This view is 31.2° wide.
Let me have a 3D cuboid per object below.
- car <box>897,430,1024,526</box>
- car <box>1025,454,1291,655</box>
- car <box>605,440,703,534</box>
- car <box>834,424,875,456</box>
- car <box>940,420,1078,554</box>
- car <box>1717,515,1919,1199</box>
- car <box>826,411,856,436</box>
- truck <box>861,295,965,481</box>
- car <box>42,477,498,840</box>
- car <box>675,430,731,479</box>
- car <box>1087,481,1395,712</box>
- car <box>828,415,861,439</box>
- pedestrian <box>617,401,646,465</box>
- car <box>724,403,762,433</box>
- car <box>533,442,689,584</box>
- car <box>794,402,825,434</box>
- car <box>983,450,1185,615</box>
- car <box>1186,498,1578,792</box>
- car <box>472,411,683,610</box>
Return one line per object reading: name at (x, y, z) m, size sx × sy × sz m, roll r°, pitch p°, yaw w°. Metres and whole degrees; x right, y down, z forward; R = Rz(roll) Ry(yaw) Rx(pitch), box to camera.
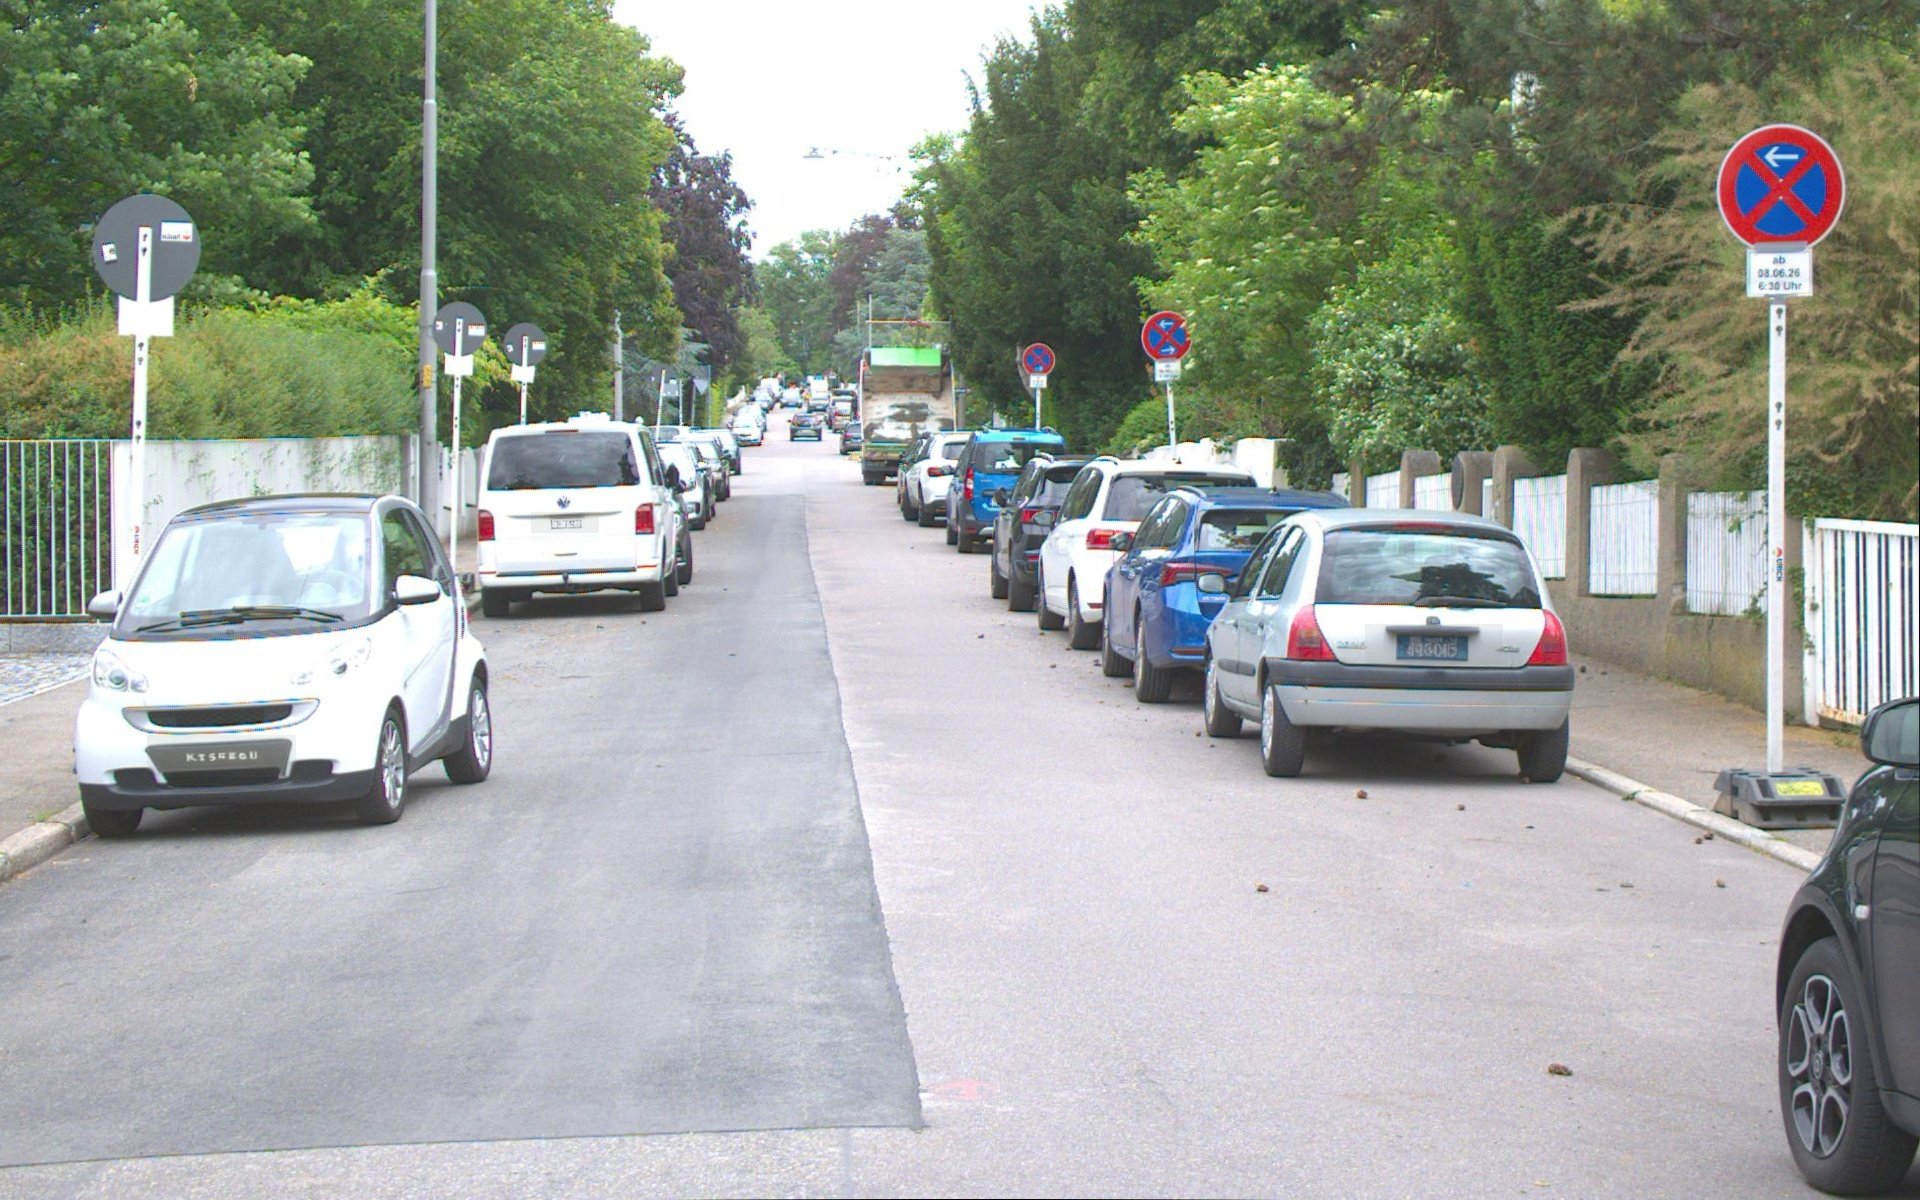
car at (-0.030, -2.226, 61.889) m, size 1.757 × 1.600 × 4.577 m, roll 1°, pitch 3°, yaw -6°
car at (1.692, -0.468, 30.753) m, size 1.784 × 1.598 × 4.306 m, roll 2°, pitch 3°, yaw -4°
car at (-5.444, -2.023, 60.934) m, size 1.621 × 1.528 × 2.963 m, roll -2°, pitch 3°, yaw -6°
car at (-4.990, -7.545, 161.984) m, size 1.778 × 1.484 × 4.001 m, roll 0°, pitch 3°, yaw -4°
car at (0.688, -1.717, 51.005) m, size 1.682 × 1.823 × 4.158 m, roll 2°, pitch 3°, yaw -4°
car at (2.773, 0.661, 6.901) m, size 1.571 × 1.526 × 2.868 m, roll 3°, pitch 2°, yaw -5°
car at (-7.432, -11.035, 214.319) m, size 1.789 × 1.524 × 3.735 m, roll 1°, pitch 3°, yaw -1°
truck at (-1.317, -5.665, 92.427) m, size 2.524 × 4.731 × 7.189 m, roll 1°, pitch 3°, yaw -2°
car at (-3.327, 0.222, 17.027) m, size 1.443 × 1.546 × 2.769 m, roll -3°, pitch 3°, yaw 4°
car at (-7.885, -4.468, 105.507) m, size 1.636 × 1.390 × 3.990 m, roll -2°, pitch 3°, yaw -4°
car at (1.909, -0.088, 24.451) m, size 1.647 × 1.453 × 4.053 m, roll 1°, pitch 2°, yaw -3°
car at (-6.919, -10.352, 205.462) m, size 1.810 × 1.331 × 3.633 m, roll 2°, pitch 4°, yaw -4°
pedestrian at (-10.607, -5.393, 110.996) m, size 0.852 × 2.006 × 0.701 m, roll 2°, pitch 3°, yaw -8°
car at (-11.444, -9.612, 181.569) m, size 1.711 × 1.580 × 4.001 m, roll 1°, pitch 3°, yaw 0°
car at (-4.299, -1.124, 42.684) m, size 1.790 × 1.617 × 4.344 m, roll -1°, pitch 3°, yaw -5°
car at (-8.218, -9.940, 187.743) m, size 1.633 × 1.695 × 3.495 m, roll 1°, pitch 3°, yaw -3°
car at (1.268, -0.767, 36.745) m, size 1.750 × 1.602 × 4.076 m, roll 2°, pitch 2°, yaw -3°
car at (2.275, 0.177, 19.375) m, size 1.573 × 1.395 × 3.656 m, roll 2°, pitch 3°, yaw -2°
car at (-3.986, -0.989, 36.507) m, size 1.854 × 1.906 × 4.620 m, roll -2°, pitch 3°, yaw -2°
